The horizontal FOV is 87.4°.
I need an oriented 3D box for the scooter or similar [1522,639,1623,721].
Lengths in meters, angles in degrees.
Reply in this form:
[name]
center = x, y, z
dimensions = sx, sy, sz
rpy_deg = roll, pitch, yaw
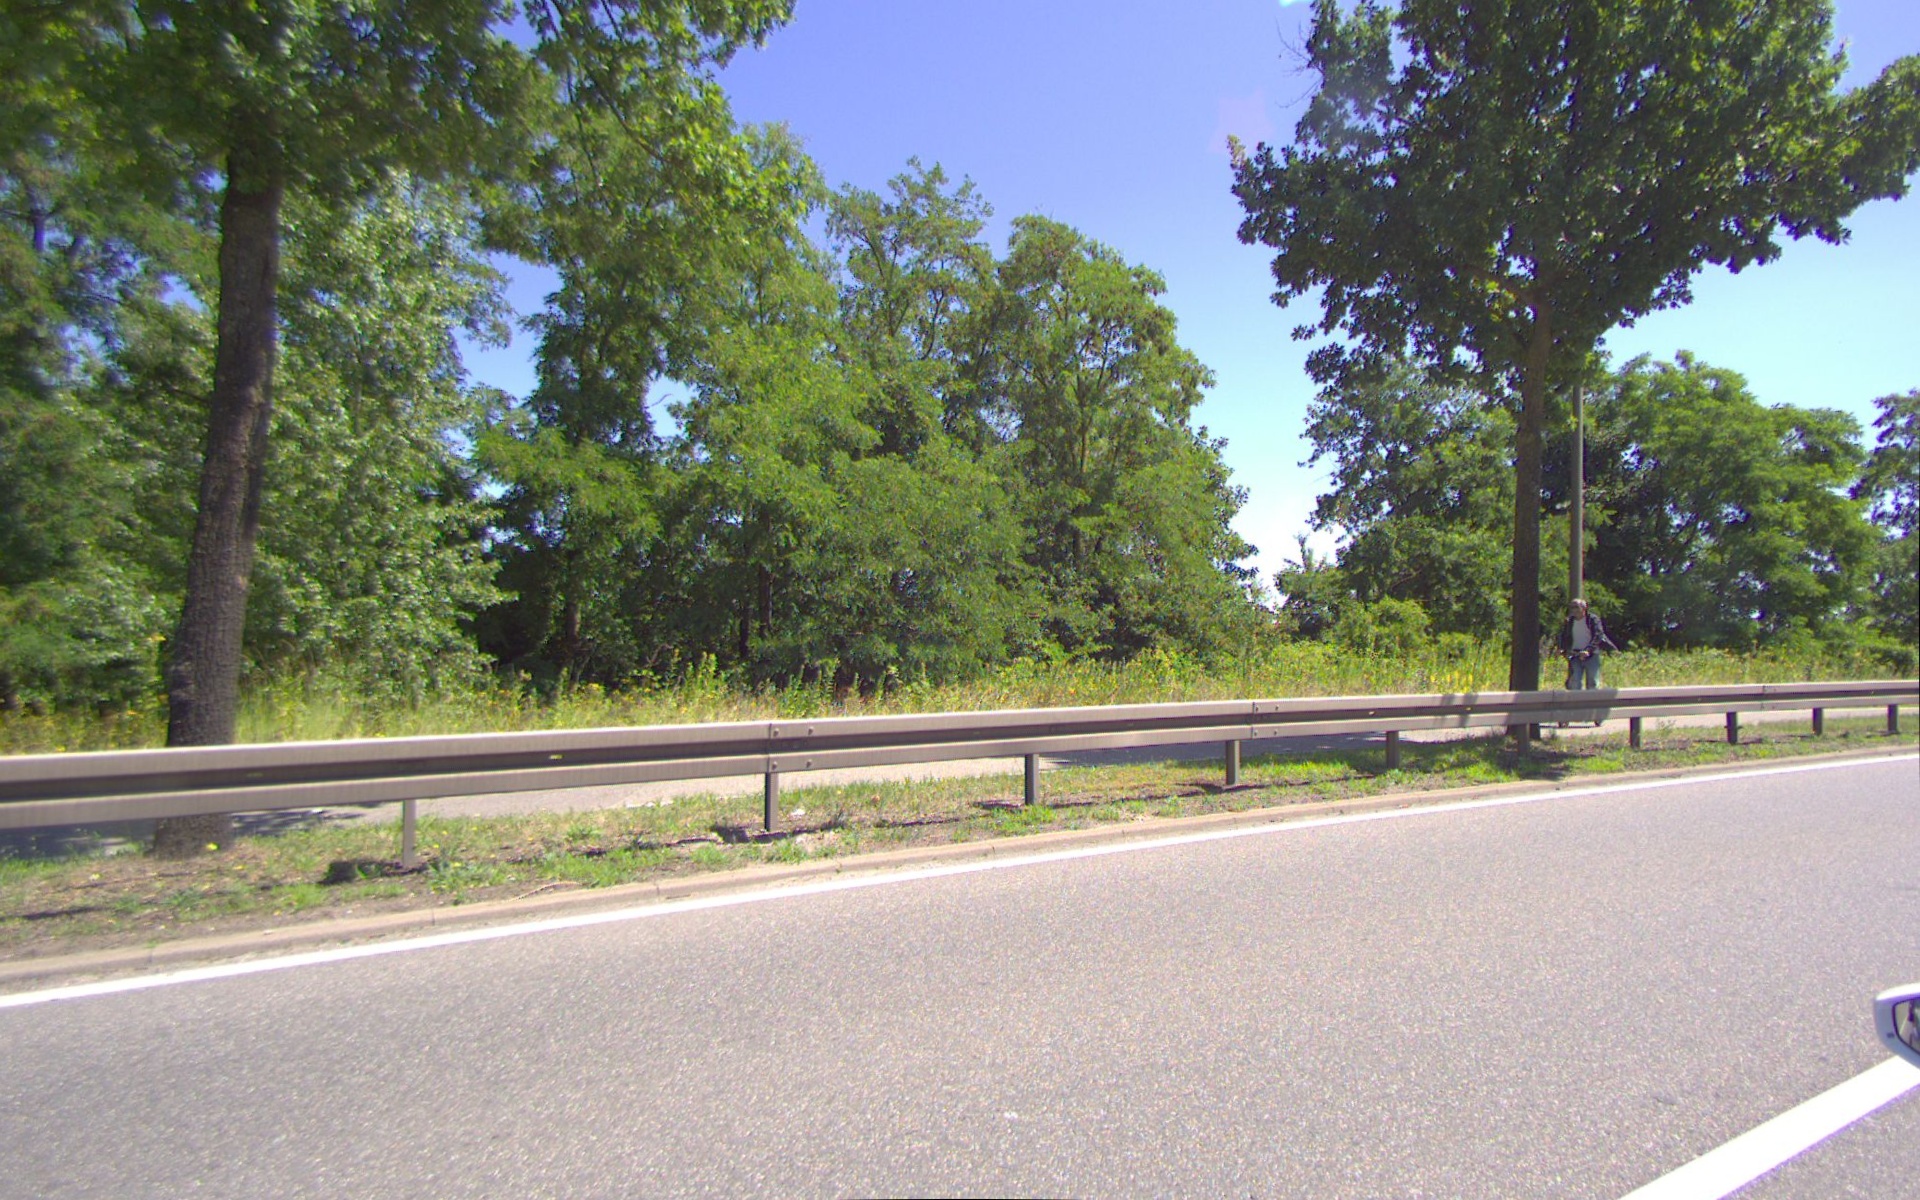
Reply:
[scooter or similar]
center = 8.822, 1.140, 14.482
dimensions = 1.081, 1.105, 0.774
rpy_deg = 2, 0, -26

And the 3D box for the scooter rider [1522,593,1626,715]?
[scooter rider]
center = 8.854, 0.762, 14.501
dimensions = 1.105, 1.679, 0.775
rpy_deg = 2, 0, -25
